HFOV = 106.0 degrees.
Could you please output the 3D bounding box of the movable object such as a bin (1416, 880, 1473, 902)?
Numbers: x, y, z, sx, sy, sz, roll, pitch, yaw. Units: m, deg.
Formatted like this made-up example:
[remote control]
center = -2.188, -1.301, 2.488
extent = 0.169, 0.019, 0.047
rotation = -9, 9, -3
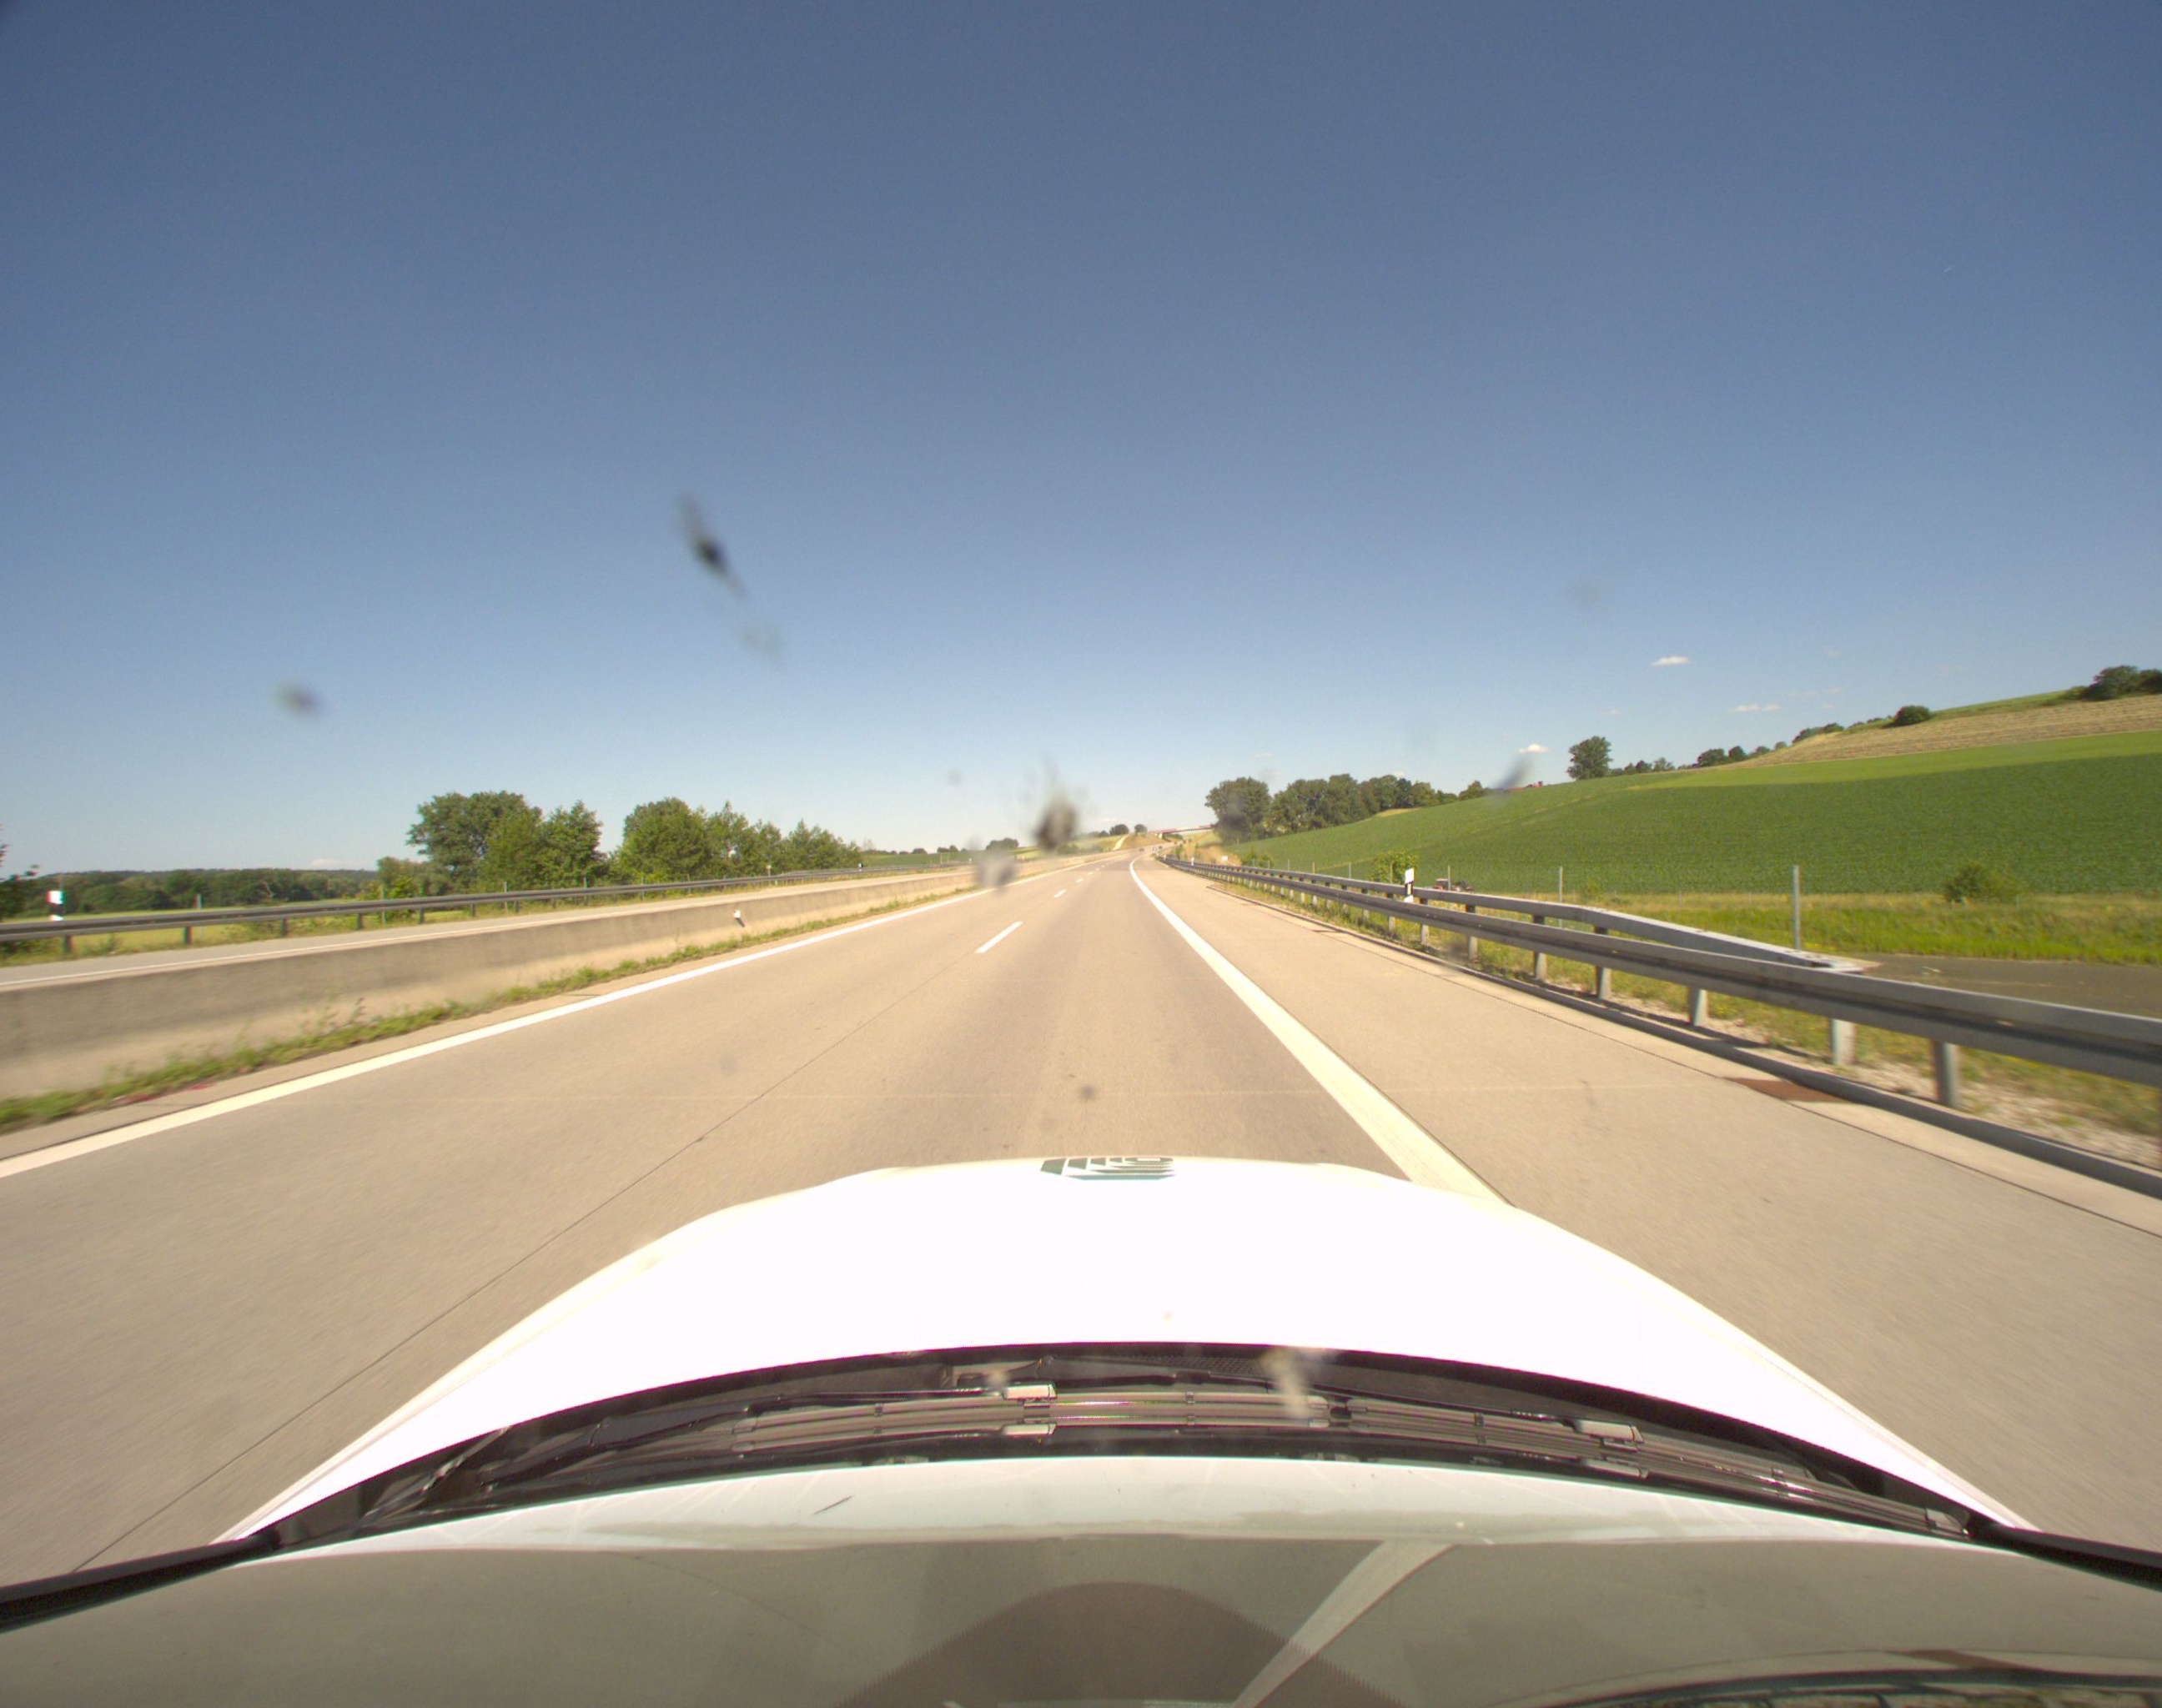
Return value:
[movable object such as a bin]
center = 48.308, 4.884, 108.291
extent = 6.153, 2.771, 3.306
rotation = -2, -2, 43
